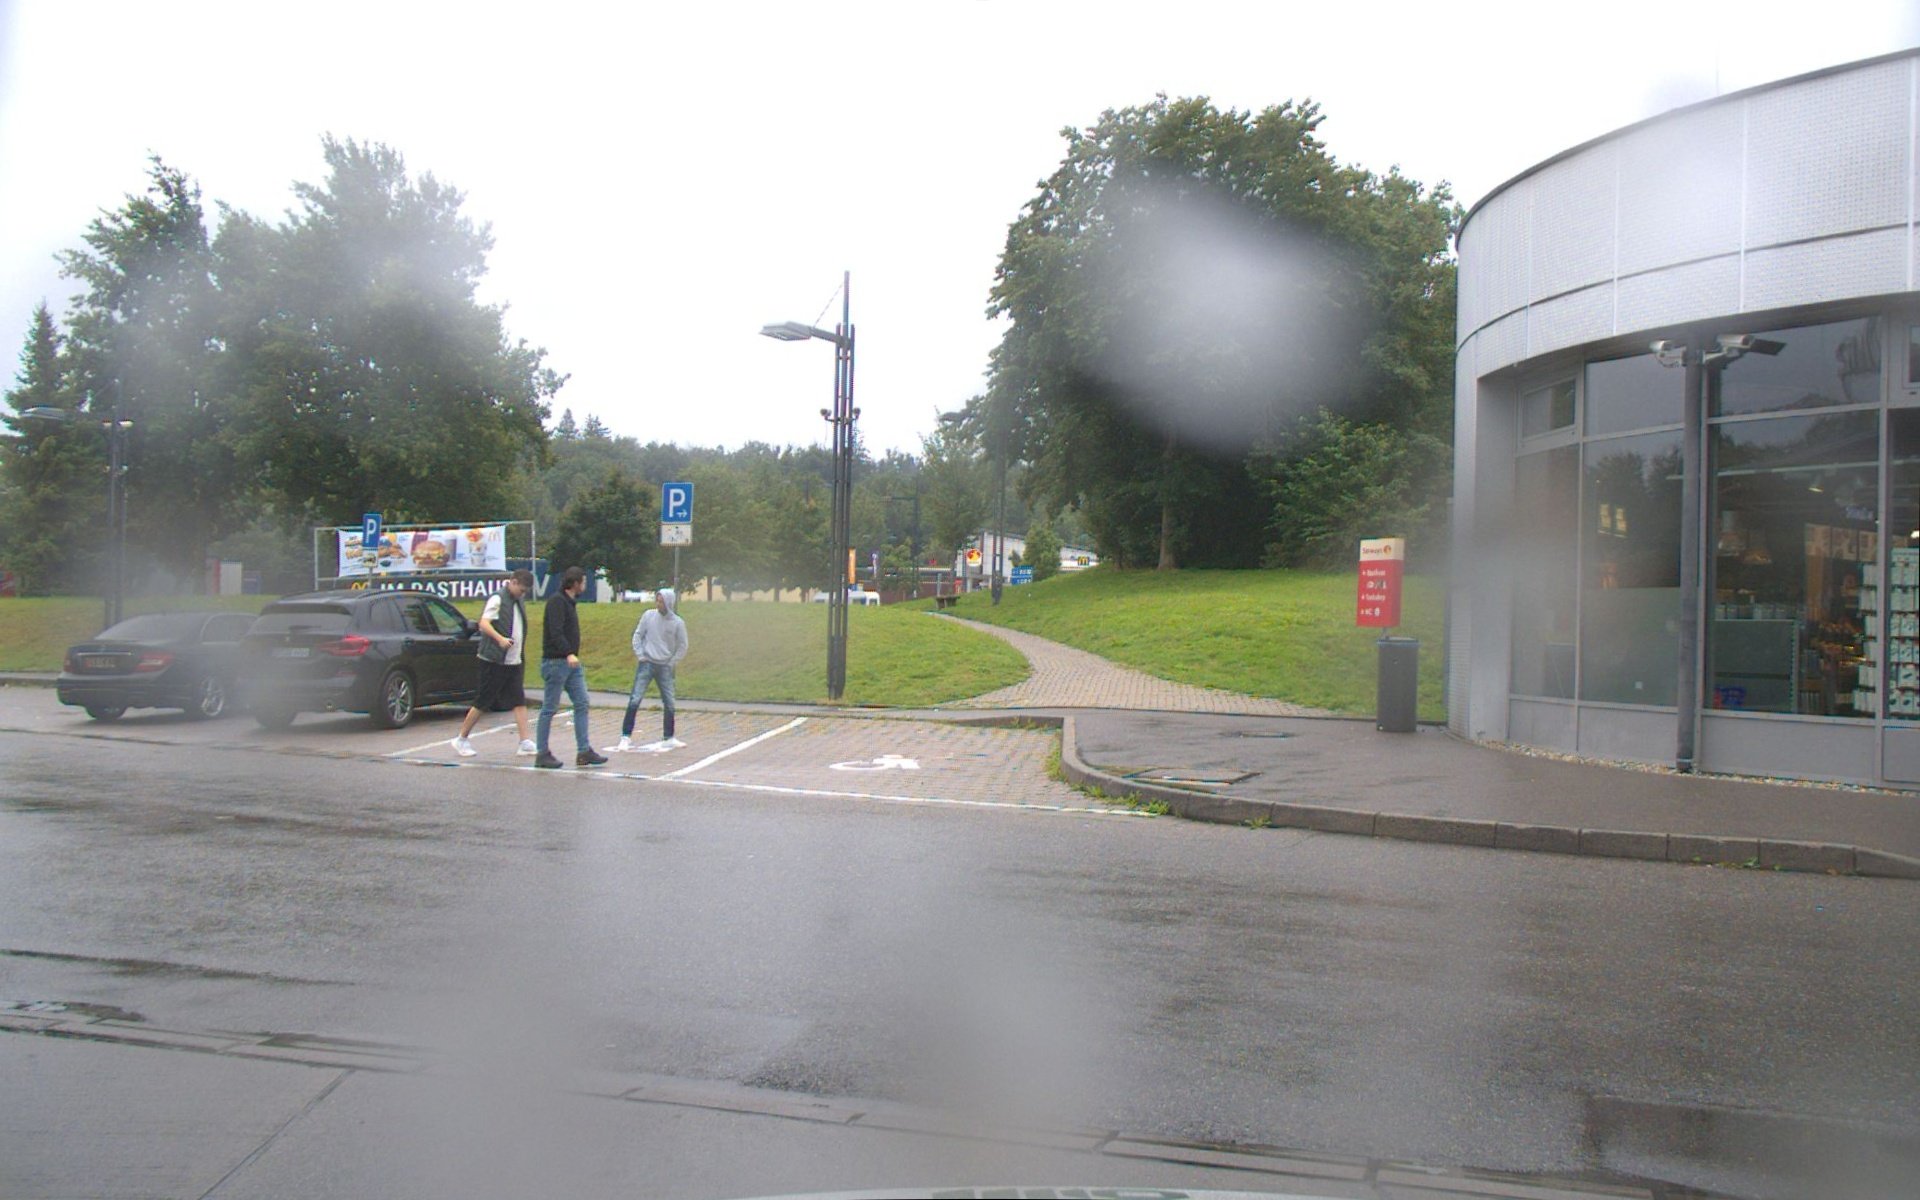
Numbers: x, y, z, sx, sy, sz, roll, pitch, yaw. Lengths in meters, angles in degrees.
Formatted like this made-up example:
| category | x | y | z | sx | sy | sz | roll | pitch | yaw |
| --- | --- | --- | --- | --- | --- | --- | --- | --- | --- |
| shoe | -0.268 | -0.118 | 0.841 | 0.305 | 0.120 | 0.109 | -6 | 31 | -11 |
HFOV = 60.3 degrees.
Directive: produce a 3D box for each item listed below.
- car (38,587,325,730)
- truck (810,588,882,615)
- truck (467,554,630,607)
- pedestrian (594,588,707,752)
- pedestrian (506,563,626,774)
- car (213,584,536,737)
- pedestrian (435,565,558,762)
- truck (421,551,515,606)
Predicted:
| category | x | y | z | sx | sy | sz | roll | pitch | yaw |
| --- | --- | --- | --- | --- | --- | --- | --- | --- | --- |
| car | -10.579 | 0.715 | 22.885 | 1.976 | 1.741 | 4.342 | -1 | 1 | -2 |
| truck | -9.241 | 0.124 | 133.662 | 5.298 | 2.049 | 2.366 | 1 | 0 | 24 |
| truck | -24.937 | -1.100 | 101.264 | 2.142 | 2.971 | 13.093 | 1 | 0 | 23 |
| pedestrian | -3.242 | 0.719 | 17.366 | 0.930 | 1.660 | 0.704 | 1 | -1 | 13 |
| pedestrian | -3.688 | 0.627 | 15.525 | 0.872 | 1.920 | 0.704 | 1 | -1 | 7 |
| car | -7.371 | 0.689 | 21.367 | 1.973 | 1.741 | 4.347 | -1 | 1 | 11 |
| pedestrian | -4.649 | 0.622 | 16.622 | 0.930 | 1.920 | 0.704 | 1 | -1 | 13 |
| truck | -27.987 | -1.182 | 94.249 | 2.142 | 2.971 | 5.384 | 1 | 0 | 24 |
